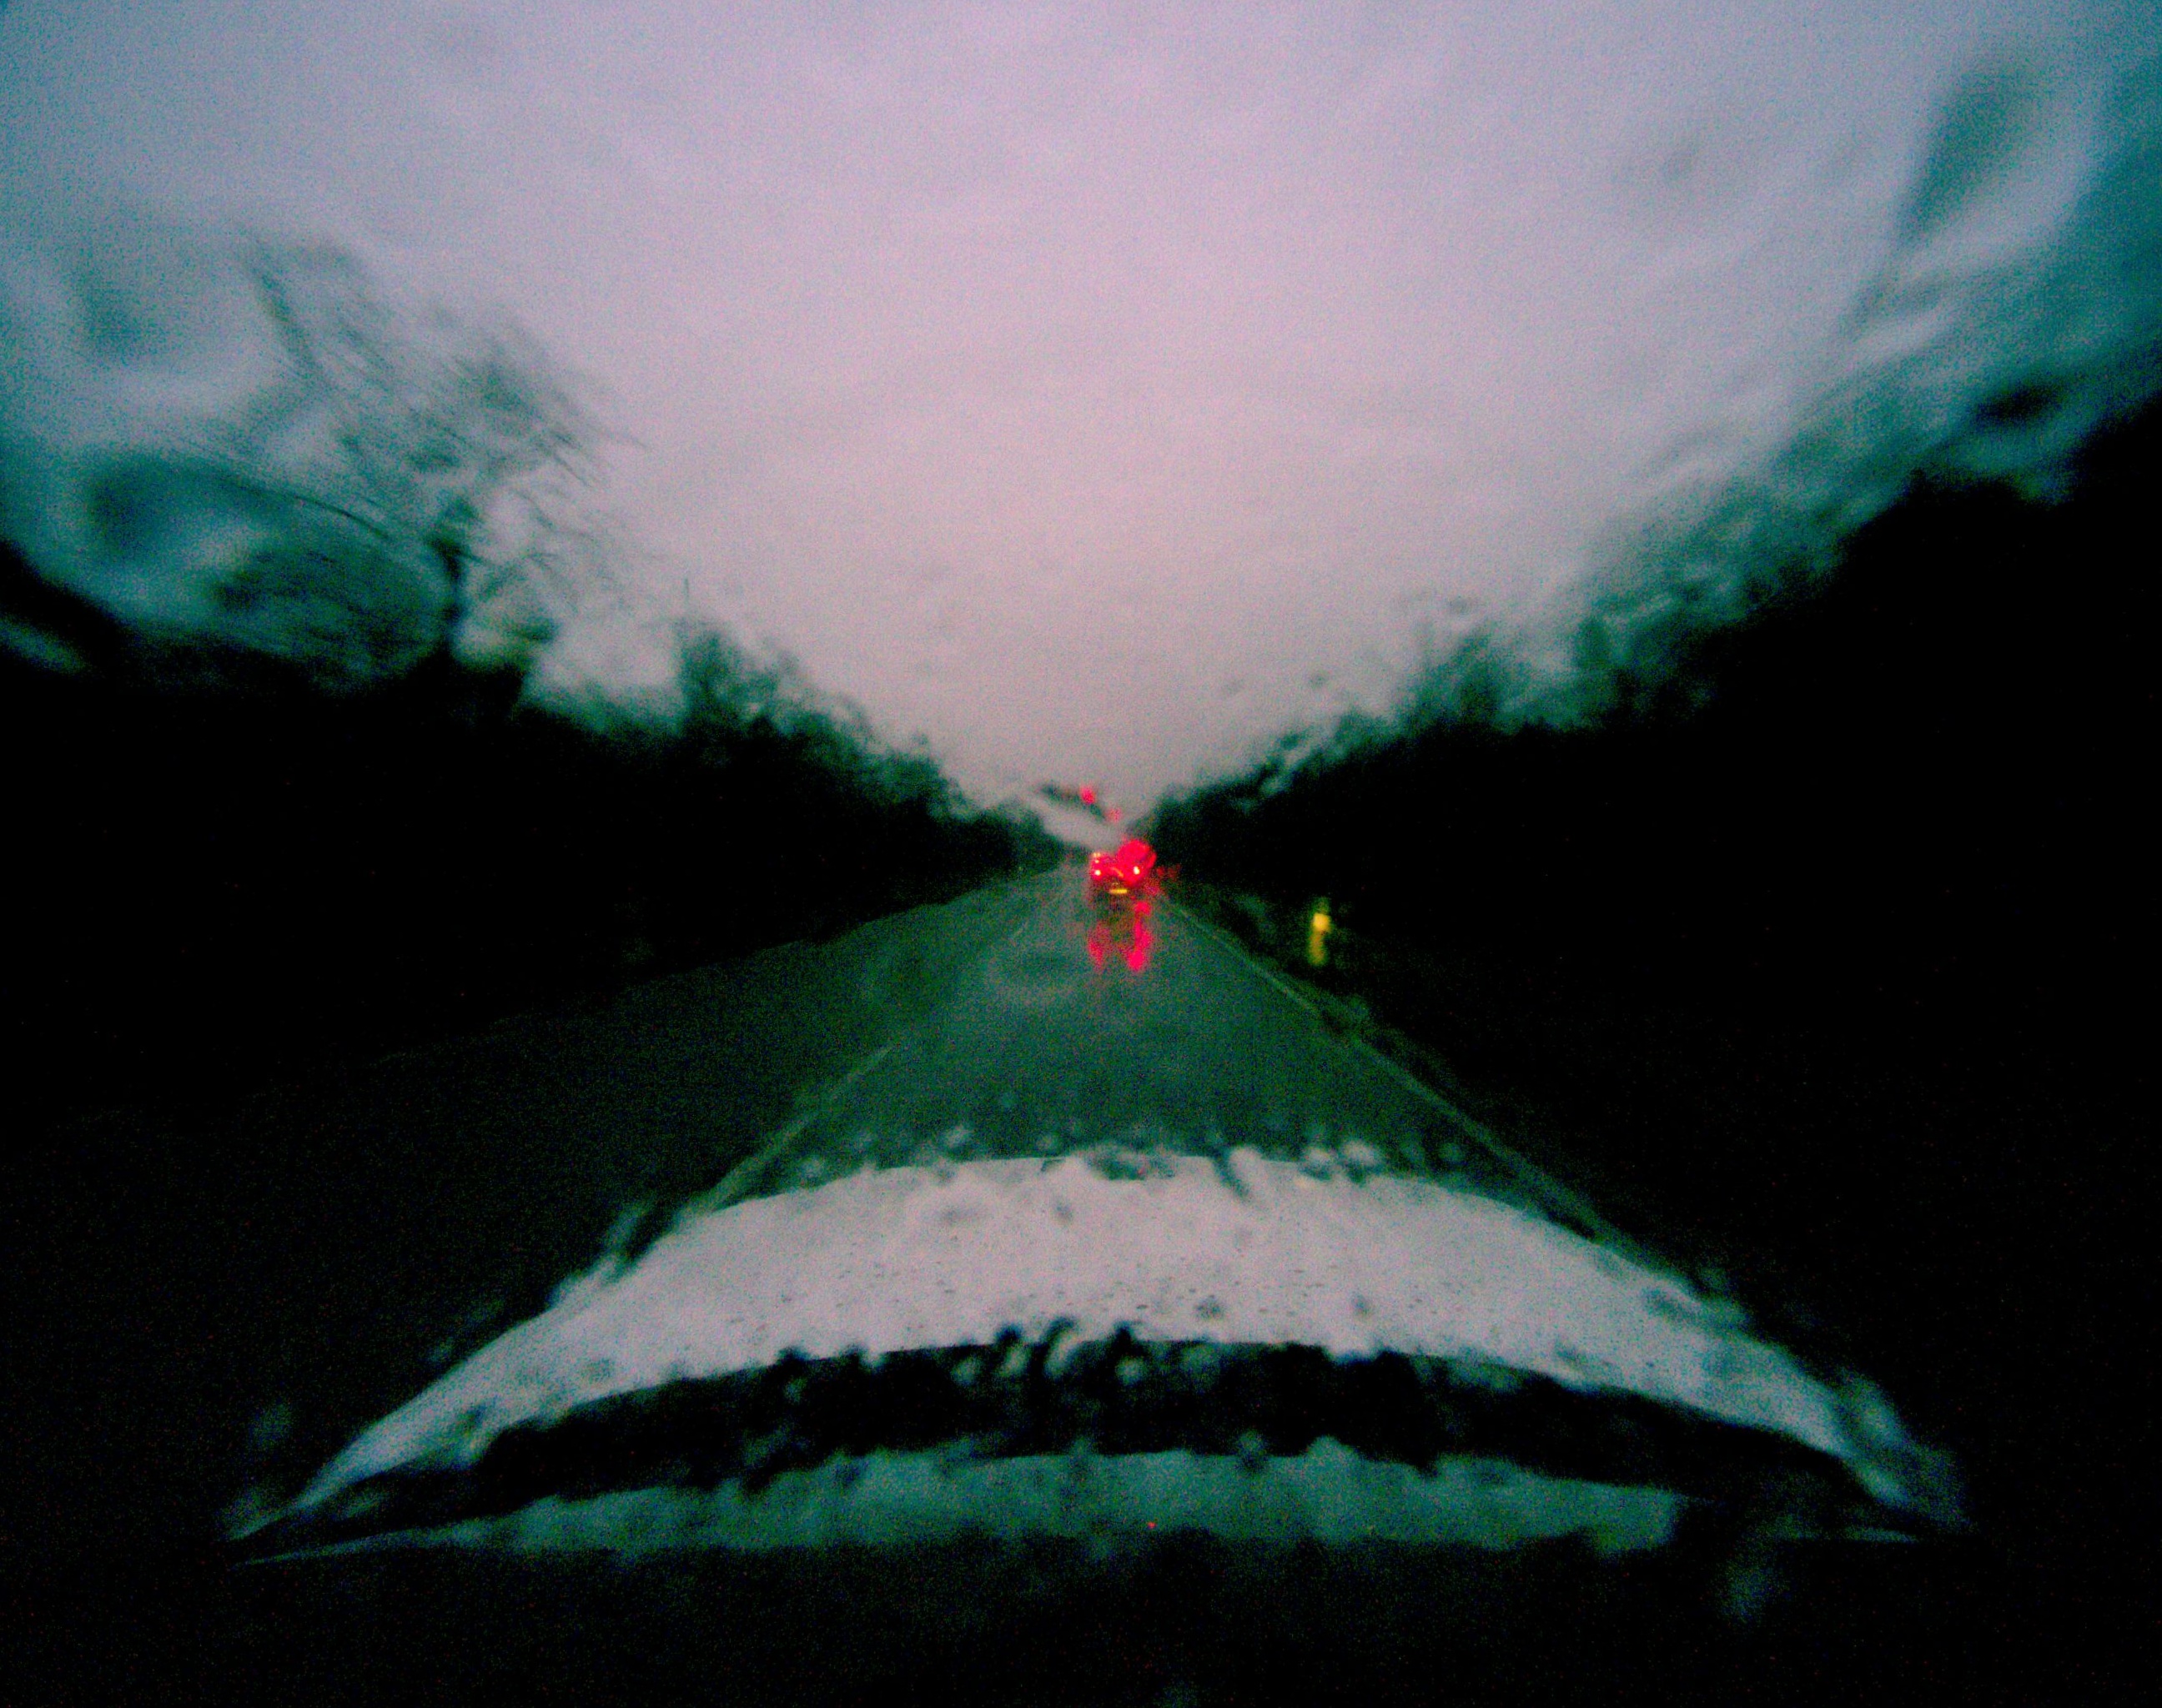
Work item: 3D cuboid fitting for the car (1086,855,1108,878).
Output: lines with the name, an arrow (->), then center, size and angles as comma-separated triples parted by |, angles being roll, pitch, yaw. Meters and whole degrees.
car -> 1.316, 0.972, 65.717 | 1.727, 1.779, 4.001 | 0, 0, 1

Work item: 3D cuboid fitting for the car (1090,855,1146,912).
car -> 1.144, 0.873, 25.704 | 1.642, 1.672, 3.515 | 0, 0, 2
